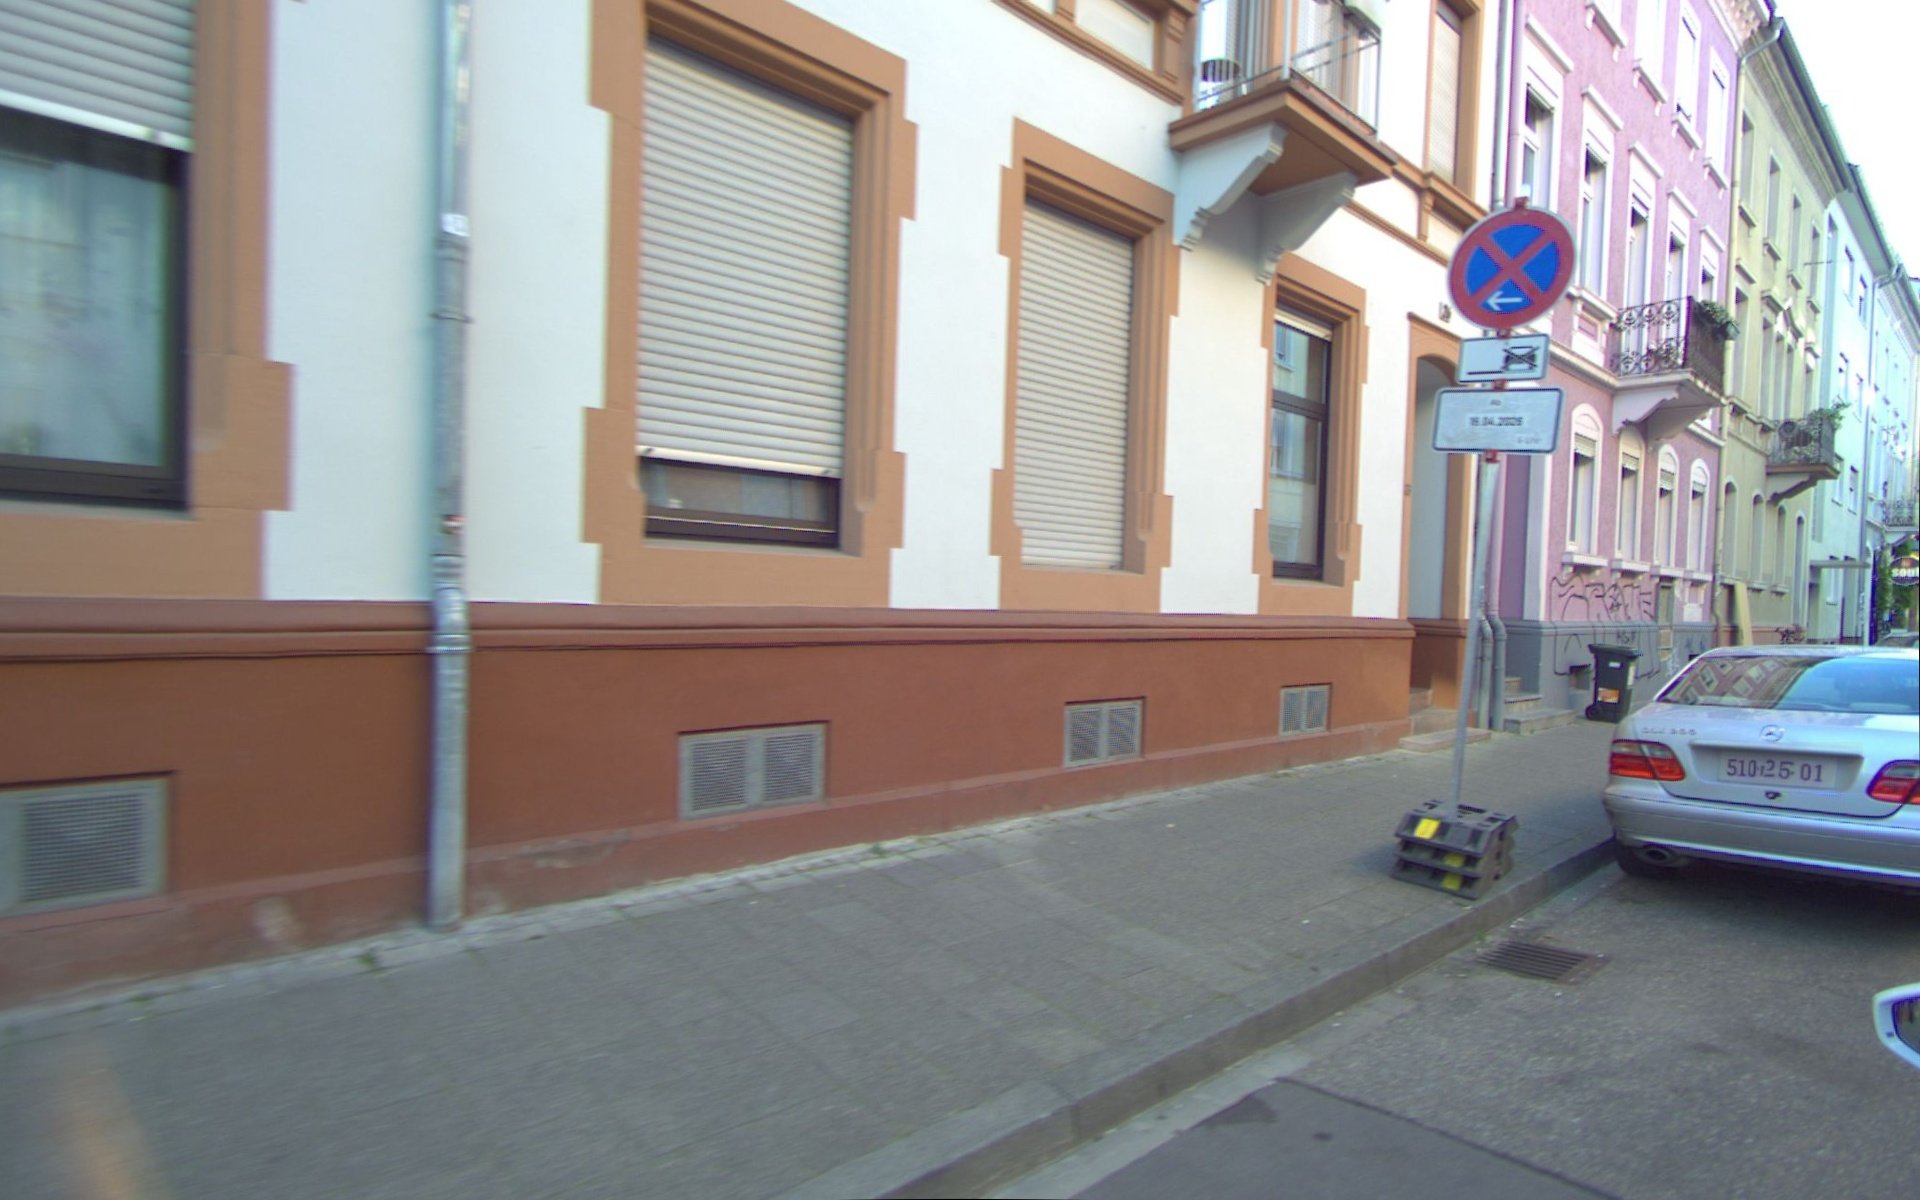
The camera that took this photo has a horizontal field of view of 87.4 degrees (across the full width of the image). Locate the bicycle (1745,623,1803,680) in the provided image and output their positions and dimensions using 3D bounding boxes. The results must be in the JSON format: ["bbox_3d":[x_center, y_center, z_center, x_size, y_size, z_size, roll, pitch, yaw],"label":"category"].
[{"bbox_3d":[16.940,1.060,20.891,2.063,1.103,0.587,2,2,-42],"label":"bicycle"}]

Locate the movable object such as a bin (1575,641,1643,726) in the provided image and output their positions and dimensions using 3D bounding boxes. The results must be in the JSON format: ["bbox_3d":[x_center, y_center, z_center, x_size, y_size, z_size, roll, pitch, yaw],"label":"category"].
[{"bbox_3d":[7.910,1.004,12.244,0.483,0.957,0.539,2,2,-41],"label":"movable object such as a bin"}]

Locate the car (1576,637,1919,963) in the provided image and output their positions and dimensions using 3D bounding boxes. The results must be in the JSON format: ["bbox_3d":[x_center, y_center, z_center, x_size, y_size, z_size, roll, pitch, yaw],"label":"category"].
[{"bbox_3d":[5.516,0.946,6.296,4.473,1.401,1.695,2,-2,-43],"label":"car"}]

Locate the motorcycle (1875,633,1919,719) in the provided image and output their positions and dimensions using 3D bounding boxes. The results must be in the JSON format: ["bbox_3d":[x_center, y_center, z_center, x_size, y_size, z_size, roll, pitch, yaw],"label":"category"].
[{"bbox_3d":[16.160,1.213,16.102,2.115,1.377,0.539,-1,-1,31],"label":"motorcycle"}]

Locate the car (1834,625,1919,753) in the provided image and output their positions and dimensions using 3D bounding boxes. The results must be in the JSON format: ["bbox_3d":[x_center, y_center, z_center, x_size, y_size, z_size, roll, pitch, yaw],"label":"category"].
[{"bbox_3d":[12.973,1.100,13.125,4.320,1.402,1.696,0,1,-40],"label":"car"}]

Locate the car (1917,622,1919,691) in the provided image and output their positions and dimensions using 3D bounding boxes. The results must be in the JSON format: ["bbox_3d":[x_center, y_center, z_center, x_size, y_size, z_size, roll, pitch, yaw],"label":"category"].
[{"bbox_3d":[22.210,1.238,21.948,3.741,1.461,1.656,2,-2,-43],"label":"car"}]
